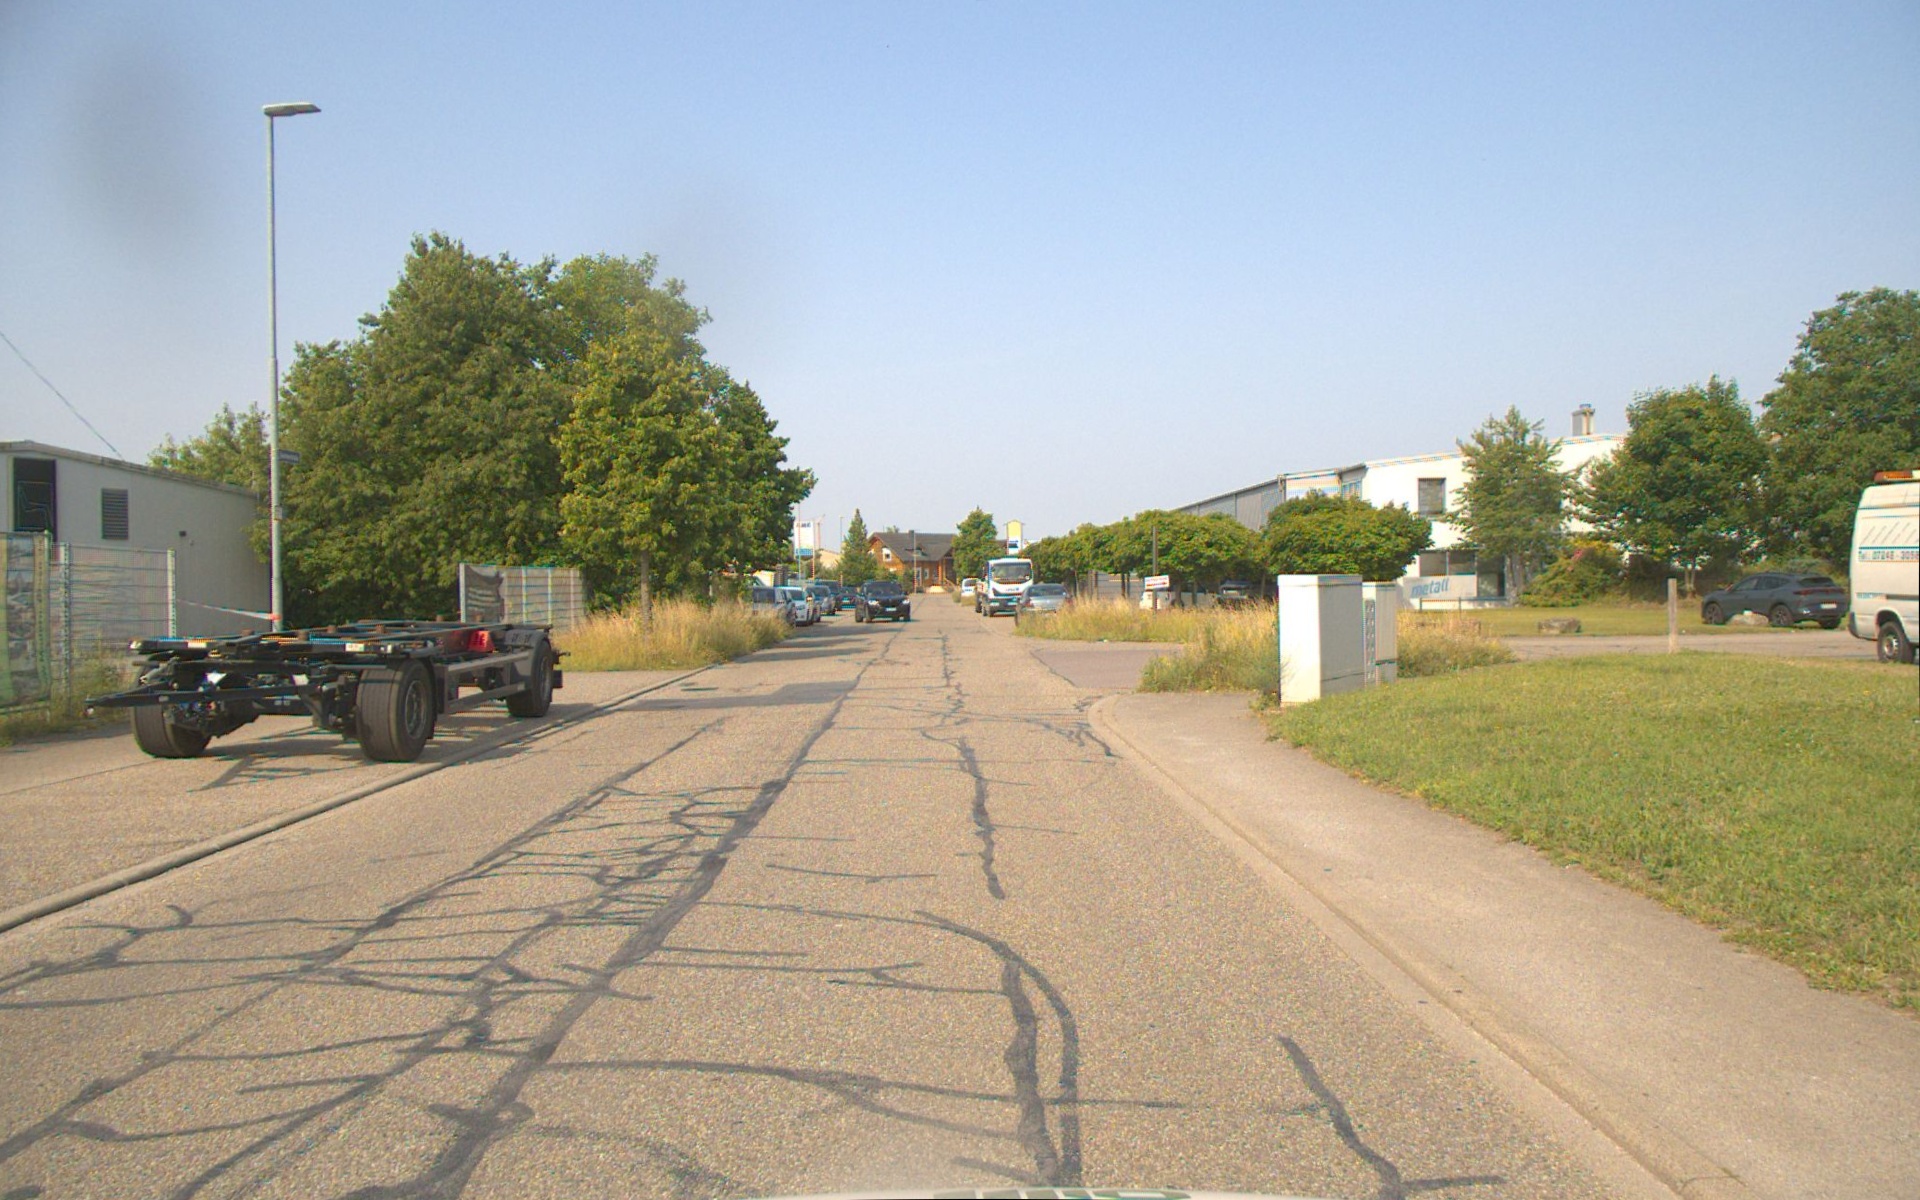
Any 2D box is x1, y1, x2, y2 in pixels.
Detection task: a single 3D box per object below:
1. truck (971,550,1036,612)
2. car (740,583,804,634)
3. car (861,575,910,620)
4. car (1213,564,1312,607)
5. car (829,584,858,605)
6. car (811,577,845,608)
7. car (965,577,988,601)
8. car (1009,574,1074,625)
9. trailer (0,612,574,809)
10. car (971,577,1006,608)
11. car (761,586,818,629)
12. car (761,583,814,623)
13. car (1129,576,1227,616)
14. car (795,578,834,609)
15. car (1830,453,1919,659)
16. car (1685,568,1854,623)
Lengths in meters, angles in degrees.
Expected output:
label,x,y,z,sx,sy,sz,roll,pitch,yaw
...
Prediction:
label,x,y,z,sx,sy,sz,roll,pitch,yaw
truck,1.987,-0.881,77.422,2.313,2.728,6.505,-2,0,-4
car,-6.094,0.243,54.016,1.534,1.565,3.689,-1,0,2
car,-3.080,-0.133,69.387,1.818,1.744,4.226,-2,1,0
car,12.123,-0.598,66.025,1.659,1.616,4.502,-1,1,44
car,-7.936,-0.408,112.931,1.763,1.411,3.637,1,1,-2
car,-7.924,-0.453,99.652,1.763,1.805,4.201,1,1,-2
car,1.368,-0.908,139.712,1.800,1.957,3.756,-2,1,-1
car,2.604,-0.045,53.782,1.758,1.544,4.423,-2,1,-1
trailer,-6.063,0.809,16.237,2.530,1.205,9.361,1,0,-1
car,1.543,-0.408,89.708,1.758,1.588,4.000,-1,1,-1
car,-6.021,0.247,58.724,1.546,1.469,3.963,1,0,0
car,-6.670,0.086,64.173,1.649,1.495,4.253,1,0,-1
car,8.276,-0.143,62.561,3.665,1.404,1.662,-2,1,-41
car,-7.576,-0.355,86.240,1.599,1.544,3.606,1,0,2
car,13.822,-0.600,21.547,1.933,2.753,5.881,-1,0,1
car,22.691,-0.117,46.544,1.754,1.433,4.324,-2,1,-18
